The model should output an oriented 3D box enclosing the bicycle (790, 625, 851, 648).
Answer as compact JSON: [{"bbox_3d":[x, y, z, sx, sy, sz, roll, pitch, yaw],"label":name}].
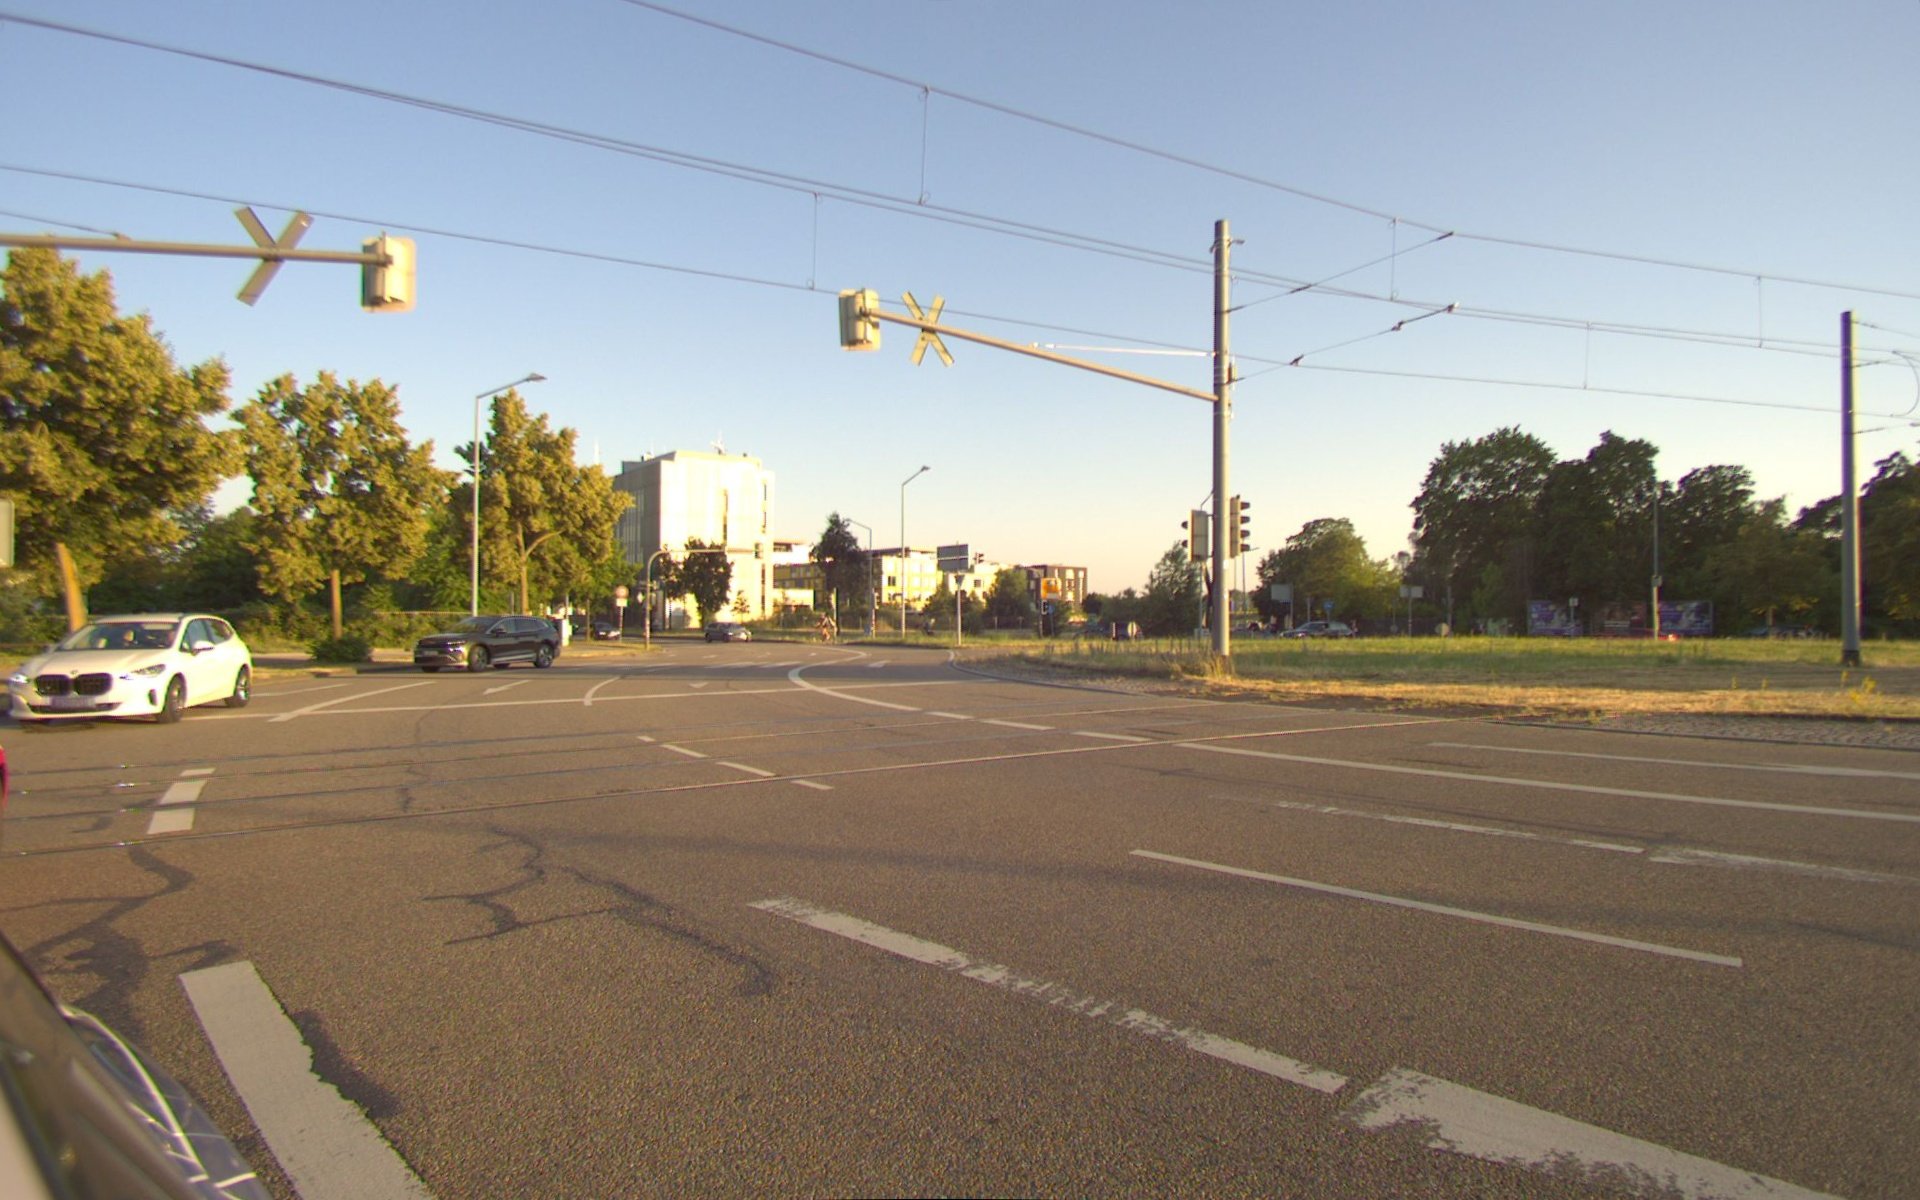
[{"bbox_3d":[-8.506,2.215,61.757,3.478,1.406,1.127,0,-1,-19],"label":"bicycle"}]

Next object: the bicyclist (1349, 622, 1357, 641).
[{"bbox_3d":[28.651,2.288,73.813,0.443,1.408,0.472,0,-2,9],"label":"bicyclist"}]

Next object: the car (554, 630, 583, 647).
[{"bbox_3d":[-39.130,3.841,101.110,1.842,1.637,4.204,1,-1,-33],"label":"car"}]

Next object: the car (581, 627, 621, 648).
[{"bbox_3d":[-29.183,3.021,82.185,1.843,1.637,4.202,1,-1,-37],"label":"car"}]

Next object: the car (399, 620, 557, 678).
[{"bbox_3d":[-13.895,1.381,29.447,1.813,1.570,4.190,-1,-2,17],"label":"car"}]

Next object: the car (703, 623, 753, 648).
[{"bbox_3d":[-16.135,2.454,70.376,1.842,1.637,4.202,1,-1,-37],"label":"car"}]

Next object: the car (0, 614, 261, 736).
[{"bbox_3d":[-12.329,1.033,15.297,1.730,1.570,4.227,0,-2,-18],"label":"car"}]

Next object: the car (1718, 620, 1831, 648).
[{"bbox_3d":[43.820,1.846,54.562,1.911,1.443,4.334,1,-2,-20],"label":"car"}]

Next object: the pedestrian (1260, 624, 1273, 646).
[{"bbox_3d":[23.807,2.723,78.589,0.720,1.714,0.878,-2,-3,39],"label":"pedestrian"}]

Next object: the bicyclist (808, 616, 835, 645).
[{"bbox_3d":[-8.465,1.836,61.780,1.392,1.762,1.127,0,-1,-19],"label":"bicyclist"}]

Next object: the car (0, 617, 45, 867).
[{"bbox_3d":[-5.865,0.786,4.912,1.667,1.432,4.220,2,-3,-36],"label":"car"}]

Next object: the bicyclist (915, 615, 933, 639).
[{"bbox_3d":[-2.460,1.862,69.066,0.983,1.645,0.813,1,-1,-24],"label":"bicyclist"}]

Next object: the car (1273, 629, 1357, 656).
[{"bbox_3d":[20.611,2.444,58.821,4.188,1.512,1.844,0,-1,-6],"label":"car"}]

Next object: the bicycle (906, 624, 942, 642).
[{"bbox_3d":[-2.448,2.259,69.075,2.288,1.188,0.813,1,-1,-24],"label":"bicycle"}]

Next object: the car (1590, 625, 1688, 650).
[{"bbox_3d":[41.092,2.258,61.376,1.911,1.443,4.610,1,-2,-24],"label":"car"}]

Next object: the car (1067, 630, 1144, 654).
[{"bbox_3d":[9.071,2.611,63.143,4.376,1.443,1.929,-1,-2,24],"label":"car"}]
